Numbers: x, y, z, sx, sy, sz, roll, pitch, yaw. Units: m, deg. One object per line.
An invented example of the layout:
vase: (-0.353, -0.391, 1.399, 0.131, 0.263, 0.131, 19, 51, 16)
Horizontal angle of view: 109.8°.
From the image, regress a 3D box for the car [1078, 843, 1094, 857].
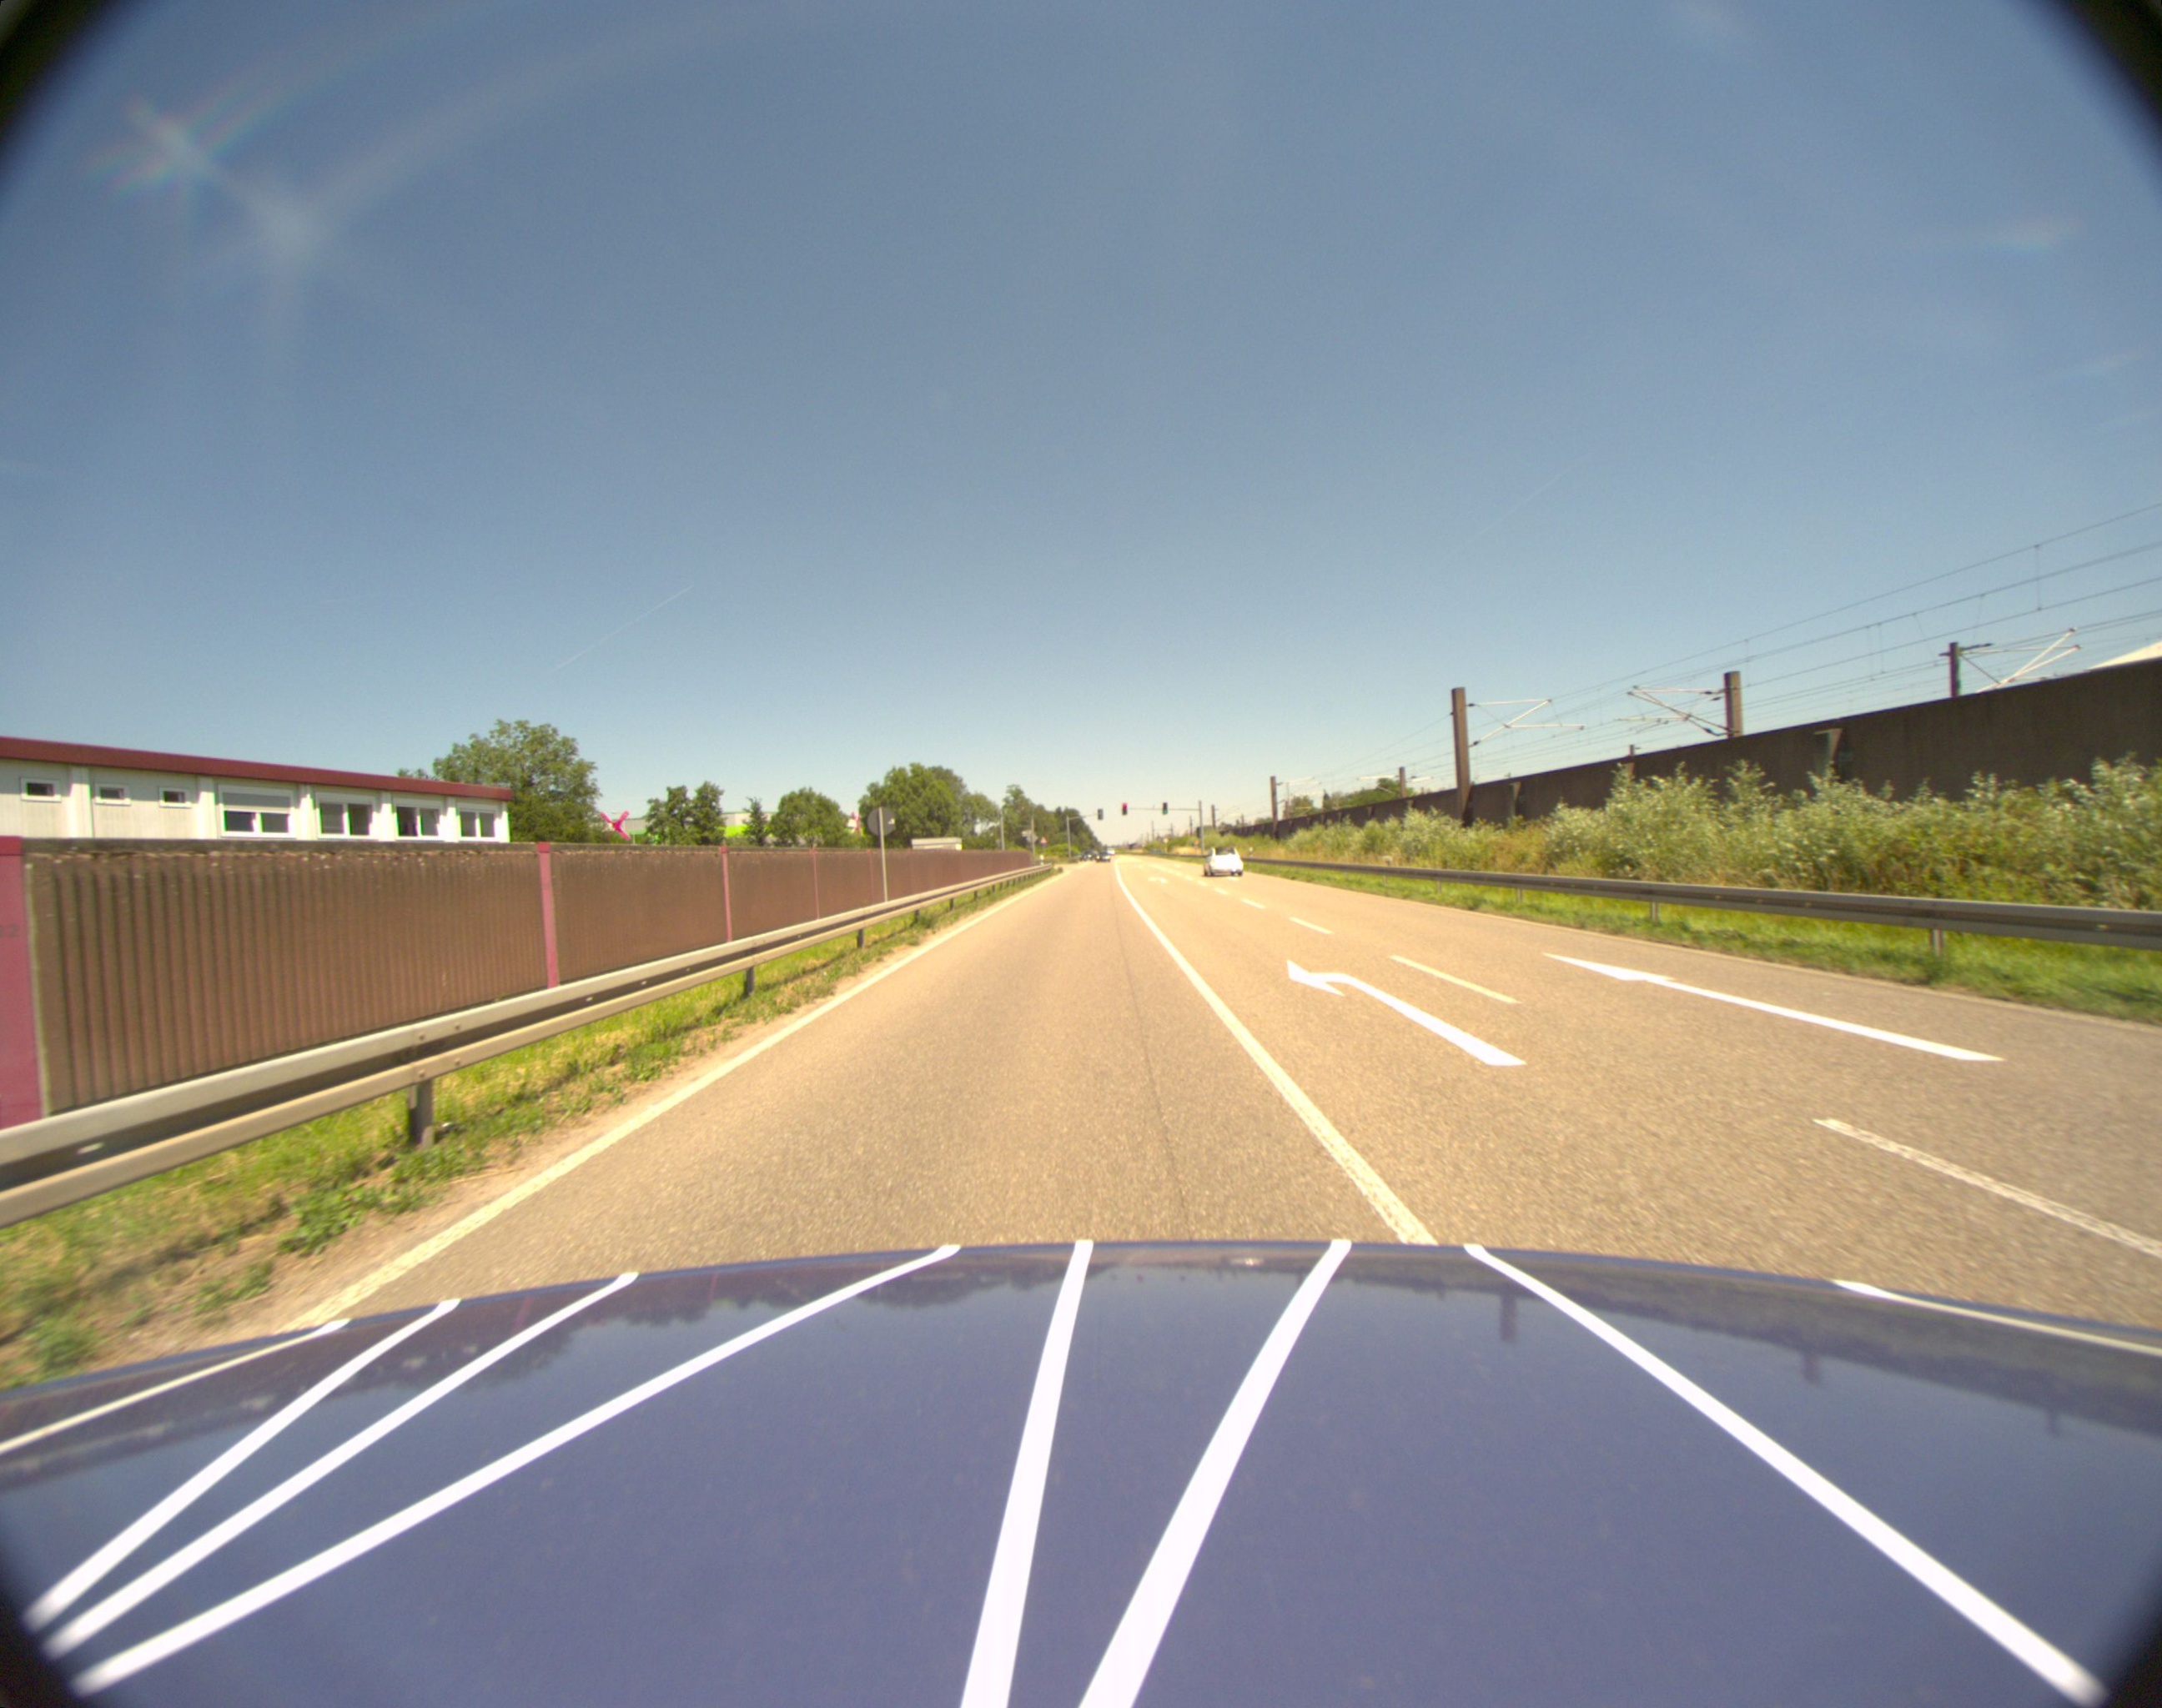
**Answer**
car: (0.781, -0.621, 116.025, 1.998, 2.002, 4.001, -2, 1, 4)

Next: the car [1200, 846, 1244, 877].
car: (7.257, 0.340, 39.467, 1.599, 1.466, 3.773, -2, 1, 1)

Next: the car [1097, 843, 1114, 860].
car: (3.148, -0.332, 98.182, 1.998, 2.002, 4.000, -2, 1, 1)

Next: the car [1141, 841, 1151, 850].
car: (15.277, -1.991, 179.455, 1.998, 2.002, 4.000, -2, 1, 1)

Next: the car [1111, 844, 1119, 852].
car: (9.340, -1.691, 208.663, 1.998, 2.002, 4.000, -2, 1, 1)
